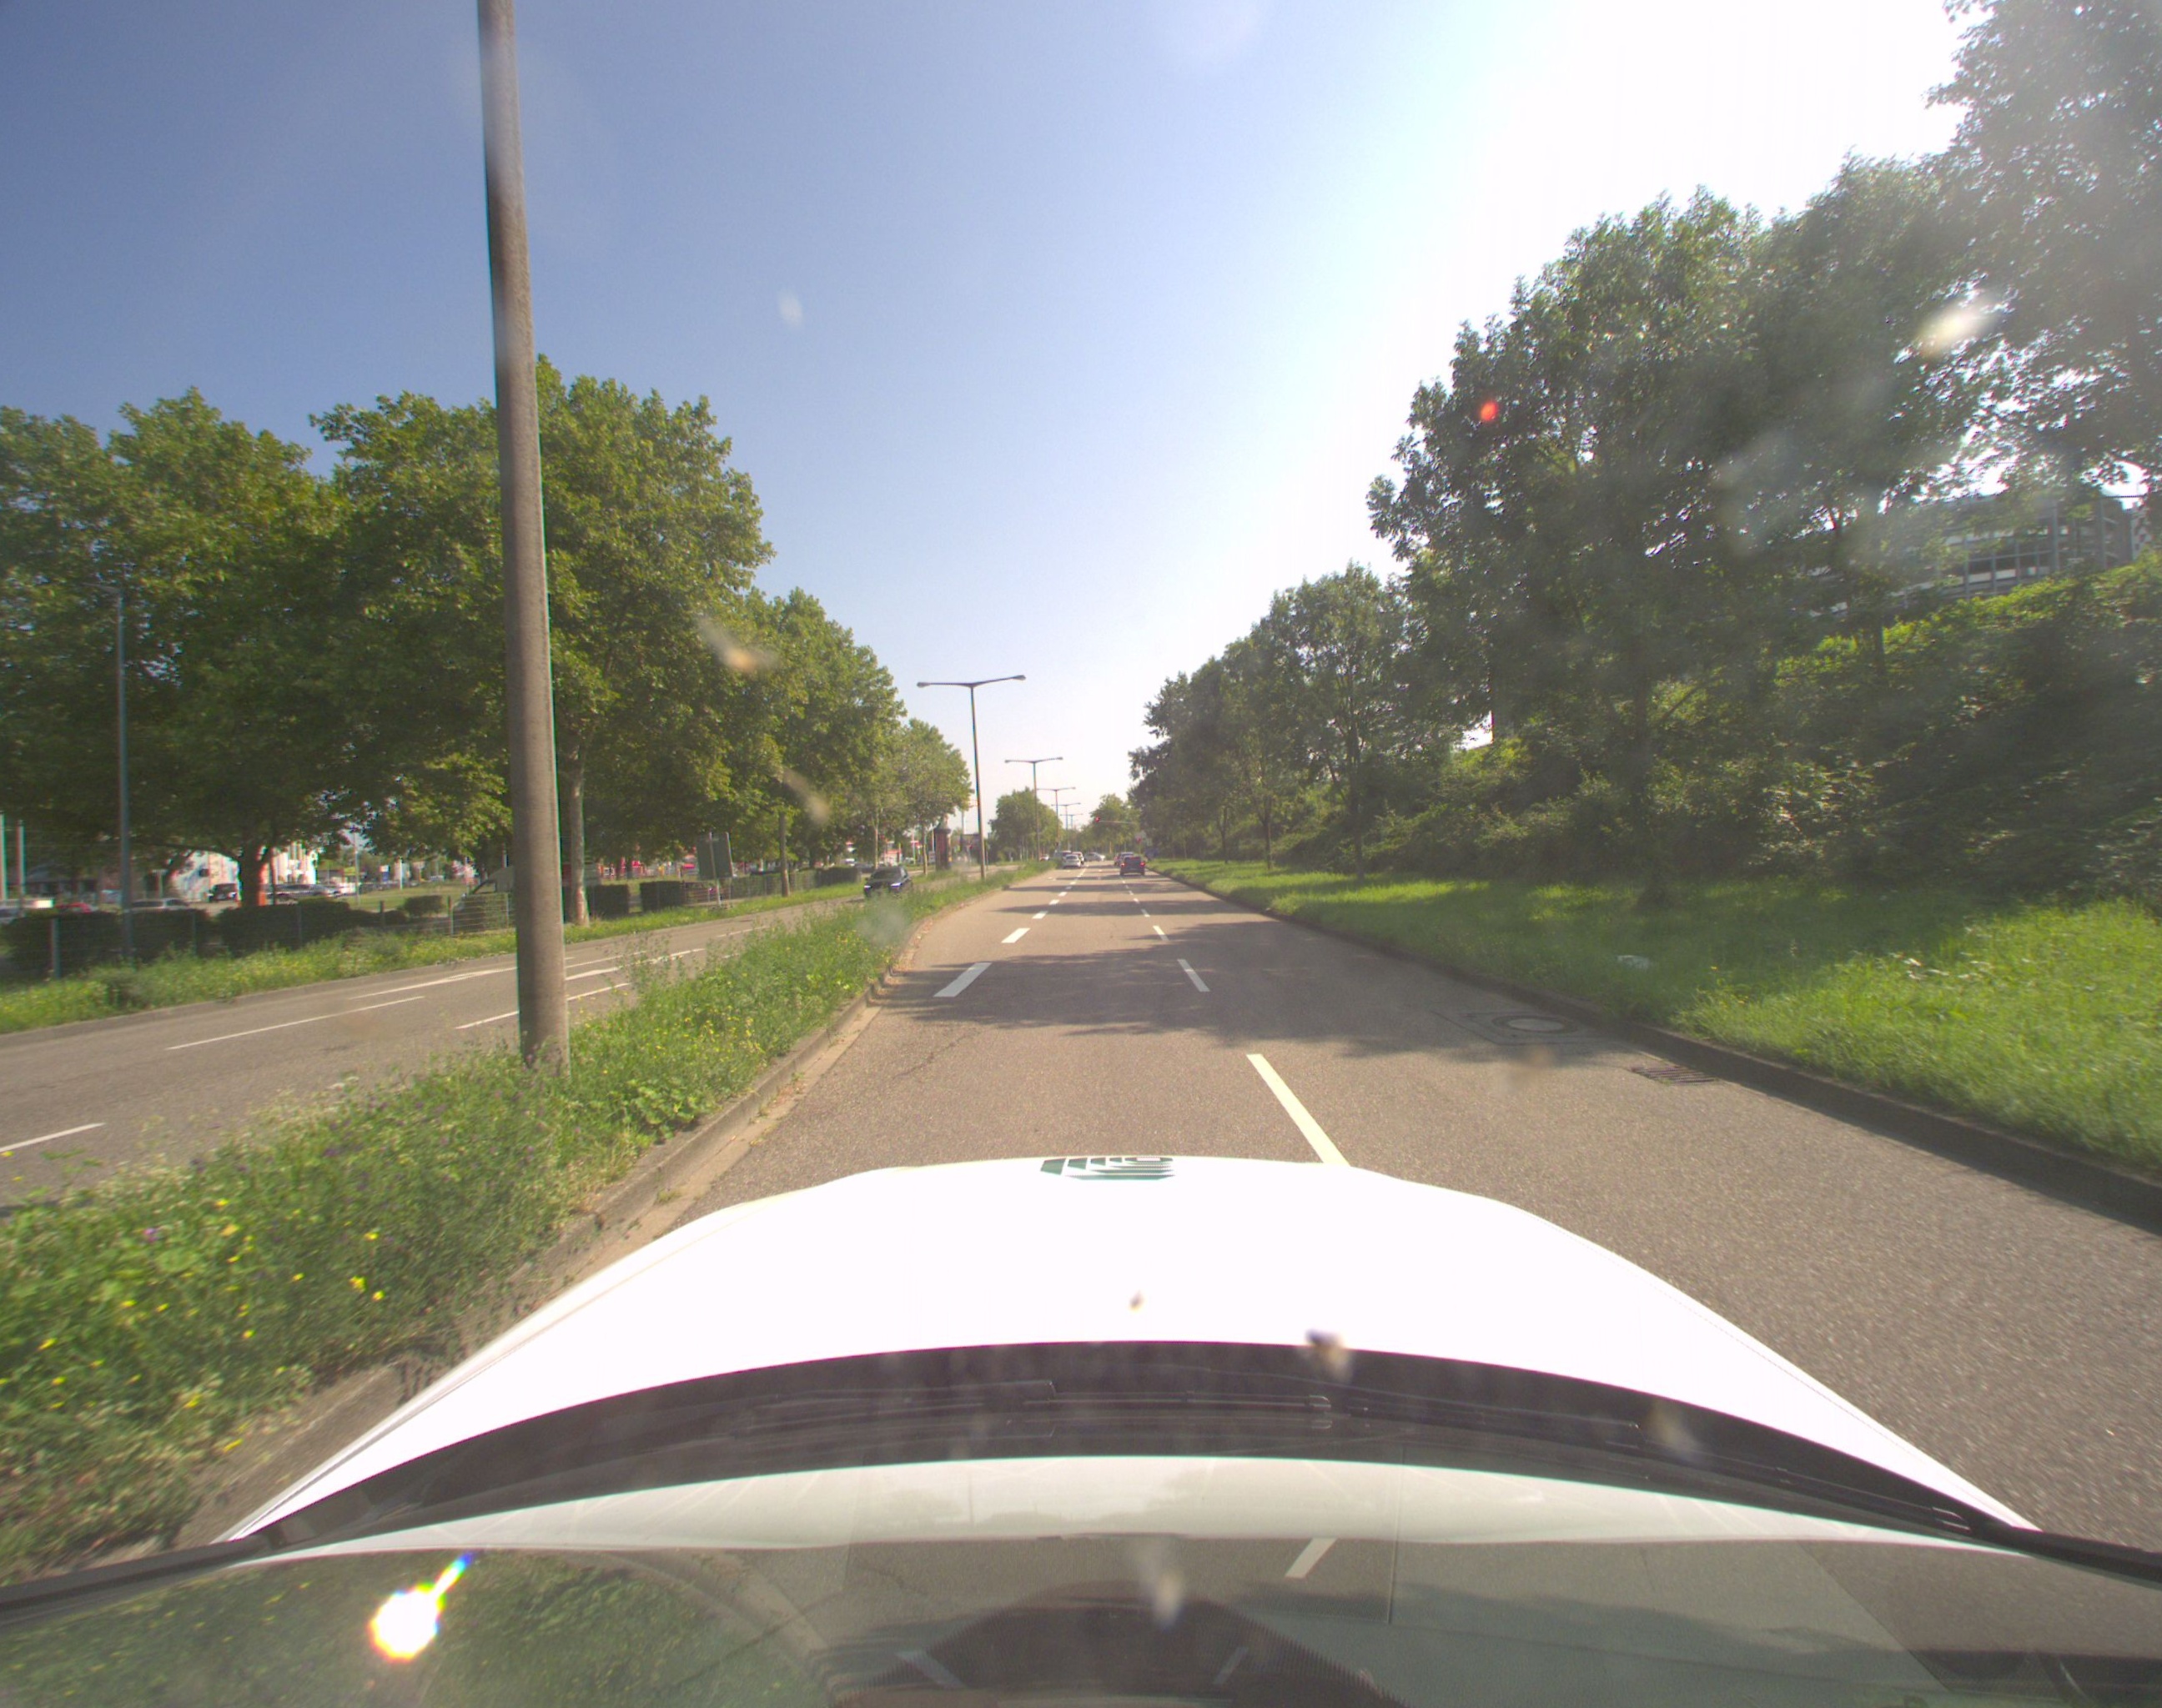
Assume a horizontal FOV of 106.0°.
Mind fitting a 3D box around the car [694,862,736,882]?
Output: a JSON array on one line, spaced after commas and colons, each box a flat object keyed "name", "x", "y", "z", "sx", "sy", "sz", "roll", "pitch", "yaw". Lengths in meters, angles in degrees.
[{"name": "car", "x": -40.141, "y": 1.957, "z": 89.326, "sx": 4.012, "sy": 2.013, "sz": 1.981, "roll": -2, "pitch": 3, "yaw": -30}]

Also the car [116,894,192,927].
[{"name": "car", "x": -53.794, "y": 3.250, "z": 47.360, "sx": 1.940, "sy": 1.452, "sz": 3.958, "roll": -2, "pitch": 3, "yaw": -34}]

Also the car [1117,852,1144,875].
[{"name": "car", "x": 3.600, "y": 0.695, "z": 59.480, "sx": 1.774, "sy": 1.427, "sz": 4.002, "roll": -1, "pitch": 2, "yaw": 1}]

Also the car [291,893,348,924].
[{"name": "car", "x": -47.103, "y": 3.344, "z": 50.470, "sx": 1.940, "sy": 1.452, "sz": 3.958, "roll": -2, "pitch": 3, "yaw": -34}]

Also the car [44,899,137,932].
[{"name": "car", "x": -75.274, "y": 4.648, "z": 61.966, "sx": 4.016, "sy": 2.013, "sz": 1.979, "roll": -2, "pitch": 3, "yaw": -34}]

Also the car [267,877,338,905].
[{"name": "car", "x": -67.084, "y": 3.141, "z": 70.260, "sx": 4.016, "sy": 2.013, "sz": 1.979, "roll": -2, "pitch": 3, "yaw": -34}]

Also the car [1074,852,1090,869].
[{"name": "car", "x": 0.091, "y": 0.814, "z": 105.979, "sx": 1.986, "sy": 2.013, "sz": 4.002, "roll": -1, "pitch": 2, "yaw": 1}]

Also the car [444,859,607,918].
[{"name": "car", "x": -24.656, "y": 1.498, "z": 36.331, "sx": 5.567, "sy": 2.336, "sz": 2.279, "roll": -1, "pitch": 2, "yaw": -1}]

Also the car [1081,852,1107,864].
[{"name": "car", "x": 2.139, "y": 0.672, "z": 133.048, "sx": 3.956, "sy": 1.630, "sz": 1.707, "roll": -3, "pitch": -1, "yaw": 17}]

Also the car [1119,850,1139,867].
[{"name": "car", "x": 5.167, "y": 0.470, "z": 88.377, "sx": 1.986, "sy": 1.654, "sz": 4.001, "roll": -3, "pitch": 0, "yaw": 1}]

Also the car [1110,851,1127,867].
[{"name": "car", "x": 4.651, "y": 0.570, "z": 101.361, "sx": 1.986, "sy": 1.653, "sz": 4.002, "roll": -1, "pitch": 4, "yaw": 1}]

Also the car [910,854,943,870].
[{"name": "car", "x": -21.068, "y": 1.095, "z": 111.259, "sx": 4.020, "sy": 2.013, "sz": 1.977, "roll": -3, "pitch": 3, "yaw": -39}]

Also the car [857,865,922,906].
[{"name": "car", "x": -8.820, "y": 1.403, "z": 37.916, "sx": 1.987, "sy": 1.561, "sz": 4.001, "roll": -1, "pitch": 2, "yaw": 1}]

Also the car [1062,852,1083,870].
[{"name": "car", "x": -0.887, "y": 0.736, "z": 82.747, "sx": 1.988, "sy": 1.702, "sz": 3.998, "roll": -3, "pitch": 0, "yaw": -1}]
